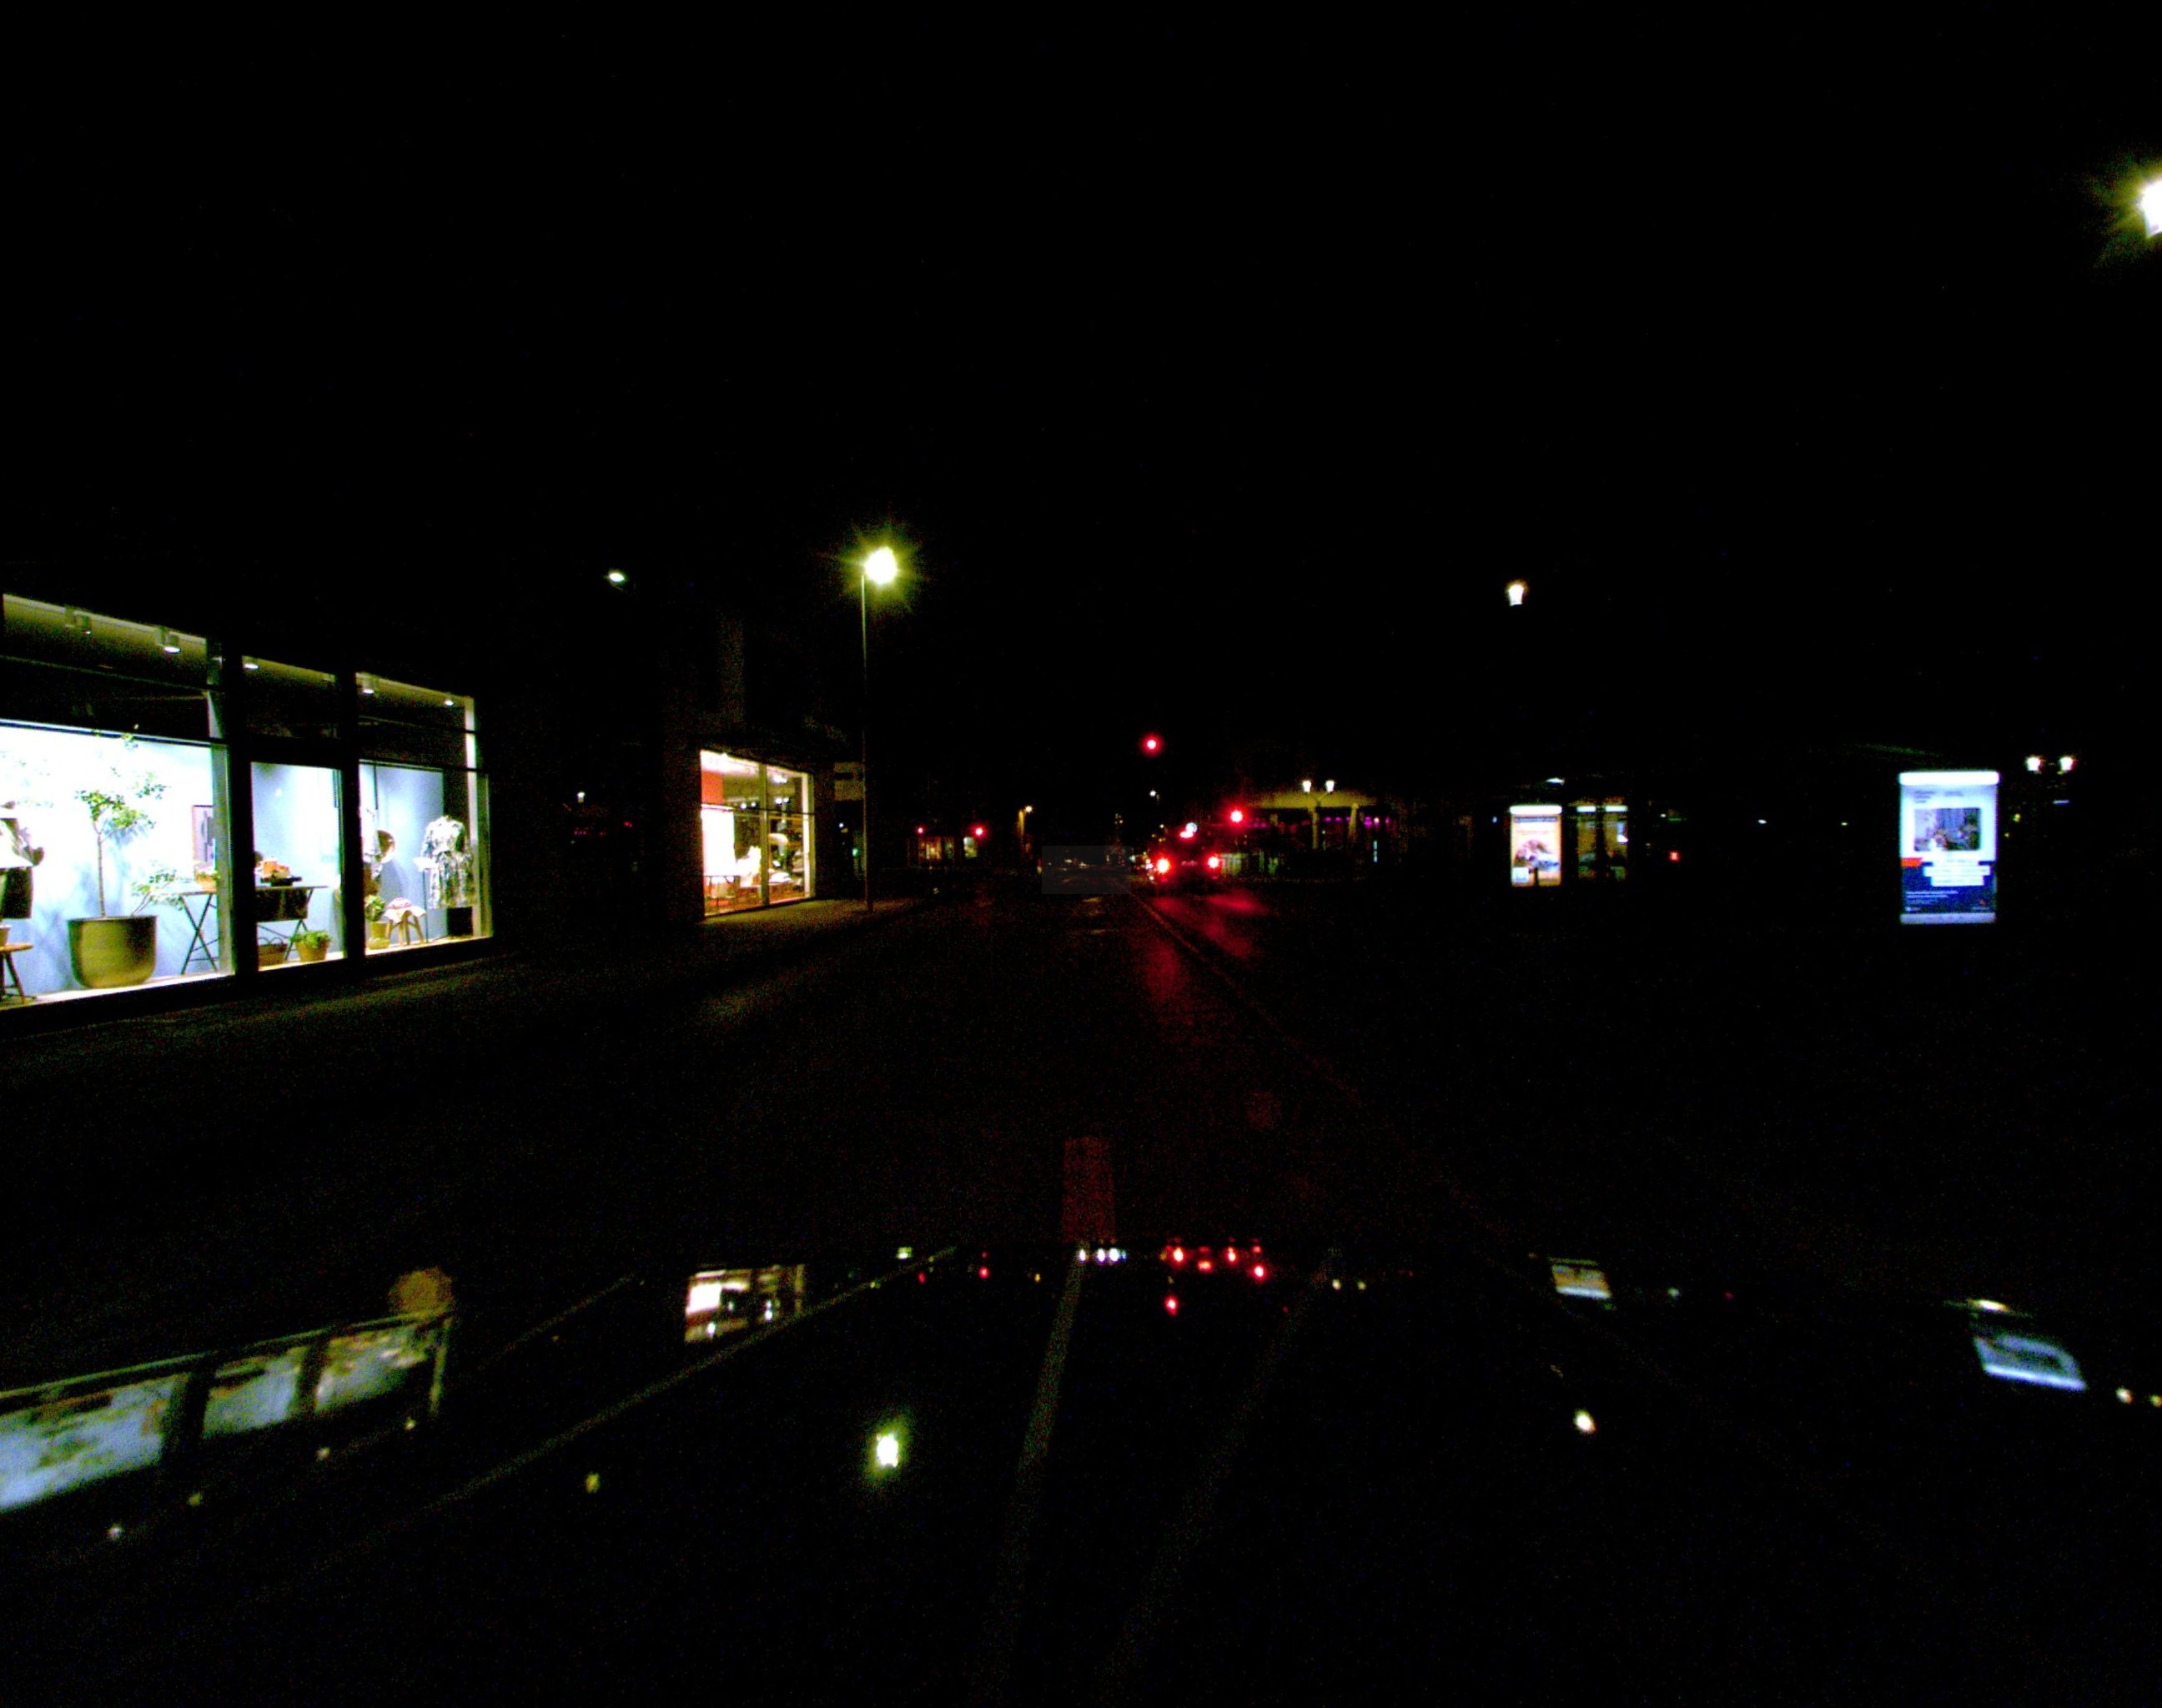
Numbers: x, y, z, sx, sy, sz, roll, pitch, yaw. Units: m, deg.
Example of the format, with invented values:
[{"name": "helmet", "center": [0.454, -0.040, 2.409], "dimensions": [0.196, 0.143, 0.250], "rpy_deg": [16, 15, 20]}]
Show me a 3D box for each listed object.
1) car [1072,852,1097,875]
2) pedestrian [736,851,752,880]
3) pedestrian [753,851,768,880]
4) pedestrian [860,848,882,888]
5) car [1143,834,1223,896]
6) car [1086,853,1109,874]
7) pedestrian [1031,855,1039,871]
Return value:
[{"name": "car", "center": [0.279, 0.702, 60.162], "dimensions": [1.713, 1.660, 3.738], "rpy_deg": [-2, 1, 3]}, {"name": "pedestrian", "center": [-20.011, 0.679, 45.115], "dimensions": [0.567, 1.707, 0.567], "rpy_deg": [-2, 1, 7]}, {"name": "pedestrian", "center": [-18.907, 0.664, 44.777], "dimensions": [0.524, 1.707, 0.567], "rpy_deg": [-2, 1, 6]}, {"name": "pedestrian", "center": [-9.103, 0.598, 32.911], "dimensions": [0.539, 1.672, 0.648], "rpy_deg": [-2, 1, 23]}, {"name": "car", "center": [3.348, 0.307, 25.837], "dimensions": [1.972, 1.861, 4.911], "rpy_deg": [-1, 1, -1]}, {"name": "car", "center": [1.461, 0.802, 67.616], "dimensions": [1.879, 1.718, 3.999], "rpy_deg": [-2, 1, 1]}, {"name": "pedestrian", "center": [-4.254, 0.810, 70.954], "dimensions": [0.647, 1.487, 0.830], "rpy_deg": [0, 1, 2]}]
